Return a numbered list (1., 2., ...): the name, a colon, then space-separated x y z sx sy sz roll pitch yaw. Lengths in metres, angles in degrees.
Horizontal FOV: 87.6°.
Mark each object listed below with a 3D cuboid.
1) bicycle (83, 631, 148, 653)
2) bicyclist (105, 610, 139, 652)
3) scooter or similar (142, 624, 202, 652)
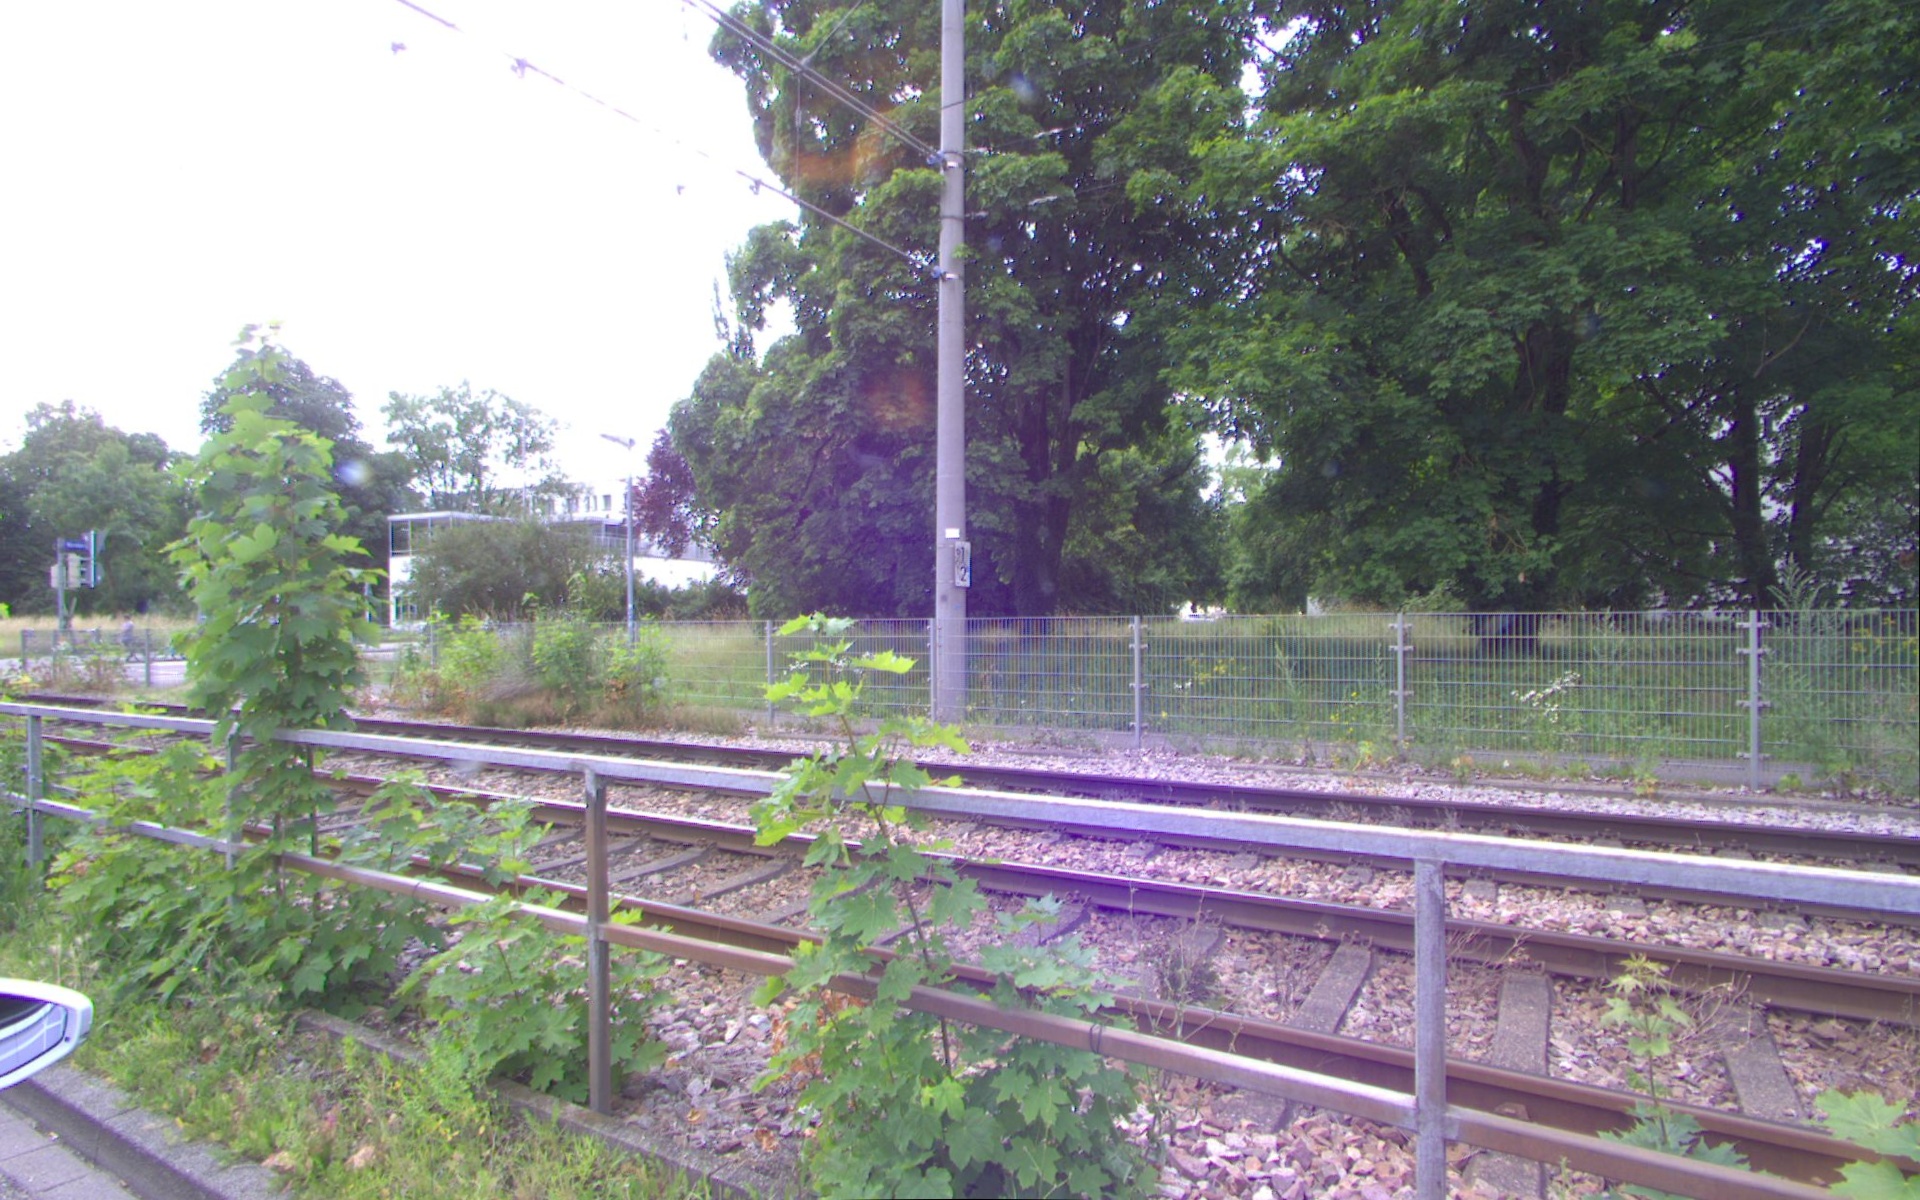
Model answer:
1. bicycle: -30.620 1.522 36.326 0.548 0.775 1.718 -1 -2 34
2. bicyclist: -30.555 1.126 36.512 0.449 1.495 0.837 -1 0 34
3. scooter or similar: -29.670 1.423 37.729 0.949 0.992 1.570 -1 0 34
